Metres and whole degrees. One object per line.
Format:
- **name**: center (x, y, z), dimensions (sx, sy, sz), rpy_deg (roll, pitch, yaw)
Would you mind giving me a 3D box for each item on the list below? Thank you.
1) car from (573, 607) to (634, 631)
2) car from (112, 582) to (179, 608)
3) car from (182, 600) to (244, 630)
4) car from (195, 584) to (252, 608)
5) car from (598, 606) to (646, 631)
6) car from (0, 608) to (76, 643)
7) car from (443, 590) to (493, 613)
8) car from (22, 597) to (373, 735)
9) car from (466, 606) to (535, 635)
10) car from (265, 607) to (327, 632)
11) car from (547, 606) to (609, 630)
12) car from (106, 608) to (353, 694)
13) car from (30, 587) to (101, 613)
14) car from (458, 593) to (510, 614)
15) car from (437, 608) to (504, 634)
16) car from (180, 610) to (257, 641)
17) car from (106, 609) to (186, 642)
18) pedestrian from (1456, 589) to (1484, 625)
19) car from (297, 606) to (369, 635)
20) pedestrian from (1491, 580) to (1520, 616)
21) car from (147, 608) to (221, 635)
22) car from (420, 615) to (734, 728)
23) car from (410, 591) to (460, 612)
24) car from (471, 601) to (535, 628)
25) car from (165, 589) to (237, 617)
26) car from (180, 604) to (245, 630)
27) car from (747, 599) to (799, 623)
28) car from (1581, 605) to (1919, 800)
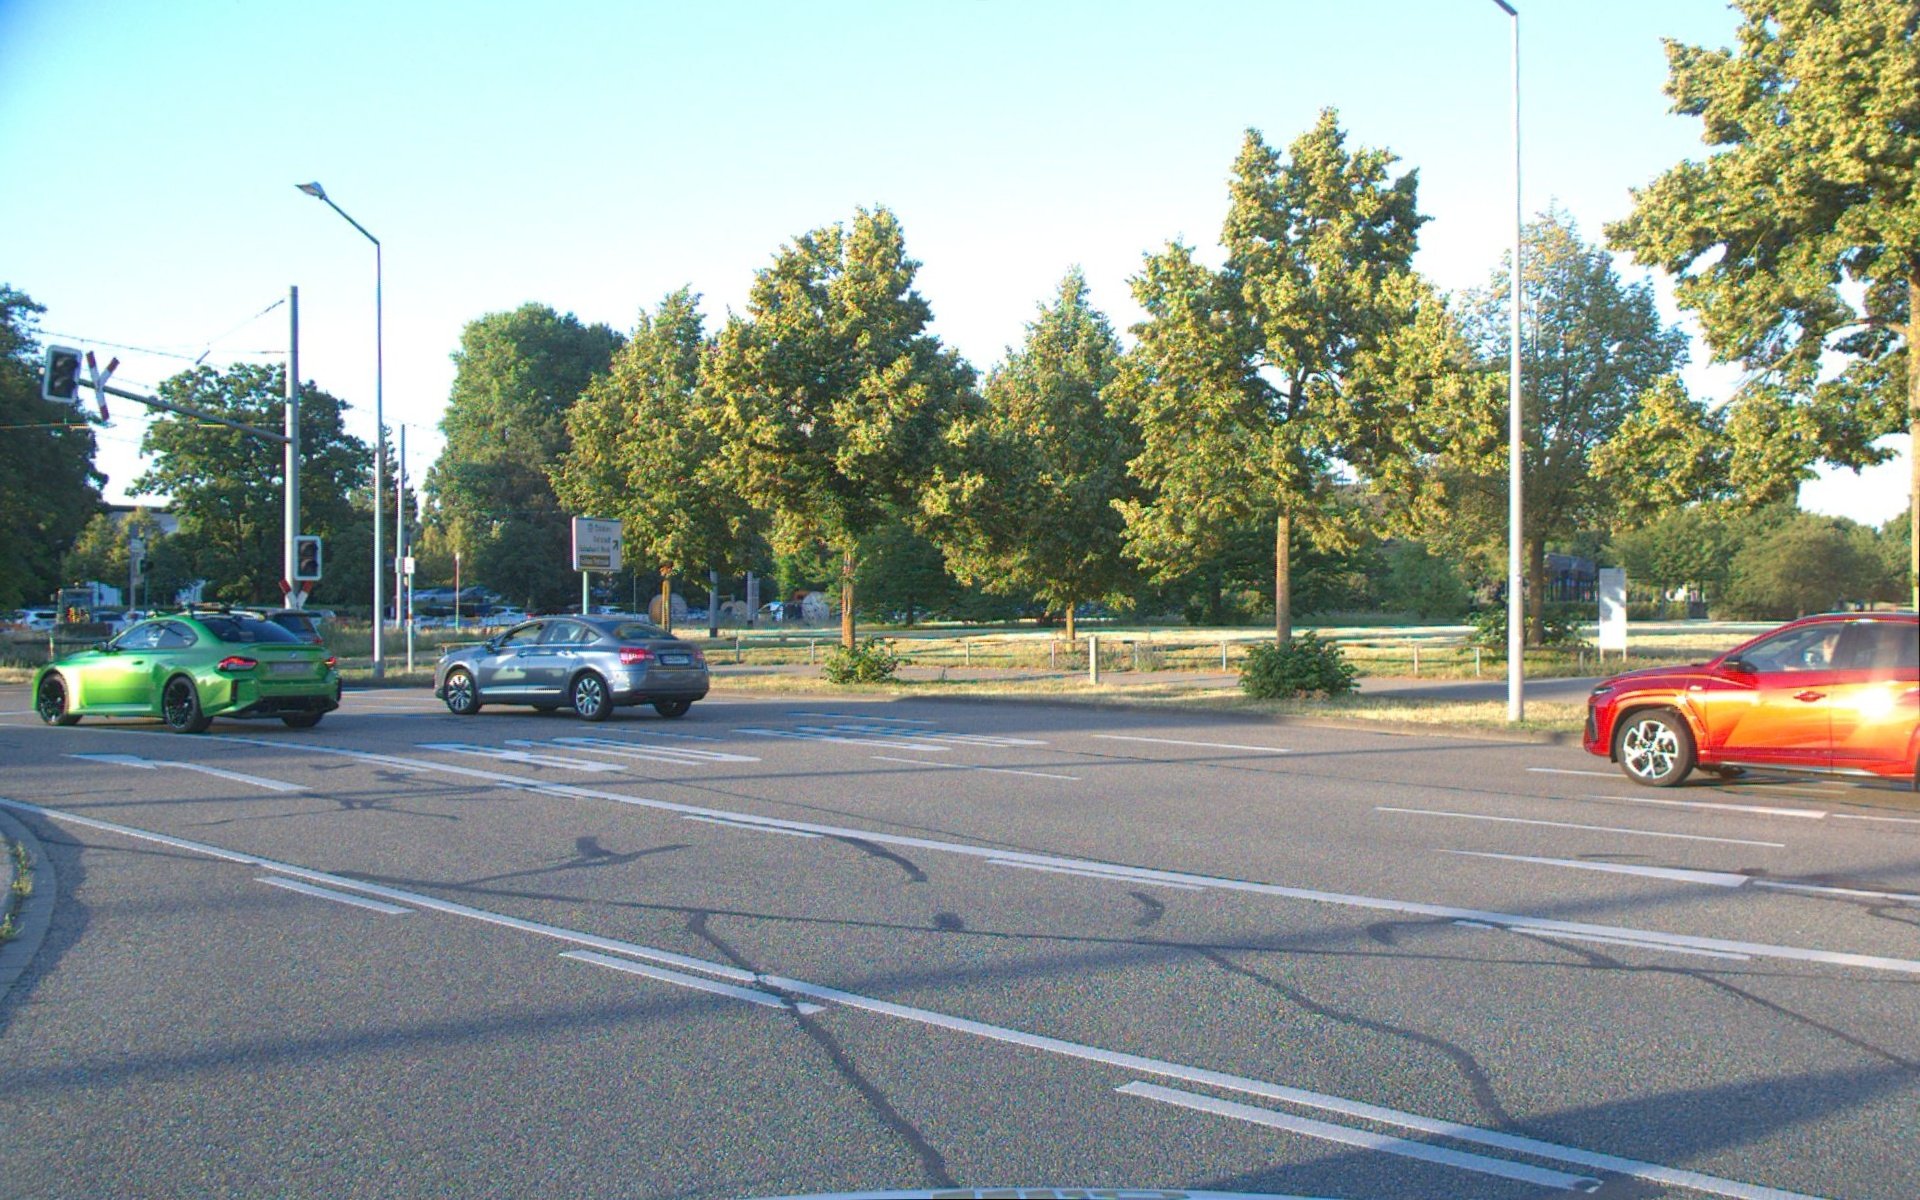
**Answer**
- **car**: center (-24.889, 1.326, 115.422), dimensions (3.915, 1.632, 1.995), rpy_deg (0, 0, 32)
- **car**: center (-67.107, -0.408, 136.336), dimensions (1.958, 2.049, 4.585), rpy_deg (0, 0, 33)
- **car**: center (-52.371, 1.042, 115.917), dimensions (3.939, 2.049, 1.983), rpy_deg (0, 0, -27)
- **car**: center (-63.364, -0.320, 142.357), dimensions (1.958, 2.049, 4.105), rpy_deg (0, 0, 33)
- **car**: center (-26.353, 1.397, 128.877), dimensions (1.979, 1.782, 4.538), rpy_deg (0, 1, -37)
- **car**: center (-45.613, 1.241, 81.431), dimensions (3.915, 1.632, 1.995), rpy_deg (0, 0, 32)
- **car**: center (-44.078, 0.115, 148.234), dimensions (1.963, 2.049, 3.979), rpy_deg (0, 0, 40)
- **car**: center (-9.837, 0.775, 21.282), dimensions (4.388, 1.606, 1.996), rpy_deg (0, 0, 31)
- **car**: center (-32.513, 1.444, 117.153), dimensions (4.499, 2.049, 1.996), rpy_deg (0, 0, -9)
- **car**: center (-45.805, 1.324, 114.109), dimensions (3.933, 1.691, 1.889), rpy_deg (0, 0, -23)
- **car**: center (-26.258, 1.240, 113.672), dimensions (3.915, 1.632, 1.995), rpy_deg (0, 0, 32)
- **car**: center (-14.935, 1.001, 33.850), dimensions (4.416, 1.666, 2.001), rpy_deg (0, 0, 18)
- **car**: center (-70.522, -0.019, 130.461), dimensions (1.956, 2.049, 4.590), rpy_deg (0, 0, 29)
- **car**: center (-41.678, 0.301, 144.721), dimensions (3.902, 1.736, 2.001), rpy_deg (0, 0, 6)
- **car**: center (-30.965, 1.326, 104.683), dimensions (3.915, 1.632, 1.995), rpy_deg (0, 0, 32)
- **car**: center (-40.519, 1.367, 90.374), dimensions (3.915, 1.632, 1.995), rpy_deg (0, 0, 32)
- **car**: center (-42.243, 1.317, 85.784), dimensions (3.915, 1.632, 1.995), rpy_deg (0, 0, 32)
- **pedestrian**: center (23.651, 0.324, 76.727), dimensions (1.047, 1.646, 0.911), rpy_deg (0, 0, 2)
- **car**: center (-36.432, 1.196, 96.086), dimensions (3.915, 1.632, 1.995), rpy_deg (0, 0, 32)
- **pedestrian**: center (24.837, -0.094, 75.306), dimensions (1.047, 1.646, 0.911), rpy_deg (0, 0, 2)
- **car**: center (-50.219, 1.374, 107.081), dimensions (1.863, 1.691, 3.987), rpy_deg (0, 0, 34)
- **car**: center (-5.684, 0.988, 24.375), dimensions (4.572, 1.489, 1.882), rpy_deg (0, 0, 33)
- **car**: center (-47.940, 0.119, 151.061), dimensions (1.959, 1.847, 3.987), rpy_deg (0, 0, 34)
- **car**: center (-34.582, 1.088, 125.260), dimensions (4.499, 2.049, 1.996), rpy_deg (0, 0, -9)
- **car**: center (-56.636, 0.243, 123.487), dimensions (1.956, 2.049, 4.590), rpy_deg (0, 0, 29)
- **car**: center (-50.549, 1.113, 111.868), dimensions (3.939, 1.691, 1.983), rpy_deg (0, 0, -27)
- **car**: center (-12.991, 0.764, 114.671), dimensions (1.724, 1.646, 3.940), rpy_deg (0, 0, -41)
- **car**: center (8.178, 0.859, 15.040), dimensions (1.984, 1.601, 4.345), rpy_deg (0, 0, -43)
